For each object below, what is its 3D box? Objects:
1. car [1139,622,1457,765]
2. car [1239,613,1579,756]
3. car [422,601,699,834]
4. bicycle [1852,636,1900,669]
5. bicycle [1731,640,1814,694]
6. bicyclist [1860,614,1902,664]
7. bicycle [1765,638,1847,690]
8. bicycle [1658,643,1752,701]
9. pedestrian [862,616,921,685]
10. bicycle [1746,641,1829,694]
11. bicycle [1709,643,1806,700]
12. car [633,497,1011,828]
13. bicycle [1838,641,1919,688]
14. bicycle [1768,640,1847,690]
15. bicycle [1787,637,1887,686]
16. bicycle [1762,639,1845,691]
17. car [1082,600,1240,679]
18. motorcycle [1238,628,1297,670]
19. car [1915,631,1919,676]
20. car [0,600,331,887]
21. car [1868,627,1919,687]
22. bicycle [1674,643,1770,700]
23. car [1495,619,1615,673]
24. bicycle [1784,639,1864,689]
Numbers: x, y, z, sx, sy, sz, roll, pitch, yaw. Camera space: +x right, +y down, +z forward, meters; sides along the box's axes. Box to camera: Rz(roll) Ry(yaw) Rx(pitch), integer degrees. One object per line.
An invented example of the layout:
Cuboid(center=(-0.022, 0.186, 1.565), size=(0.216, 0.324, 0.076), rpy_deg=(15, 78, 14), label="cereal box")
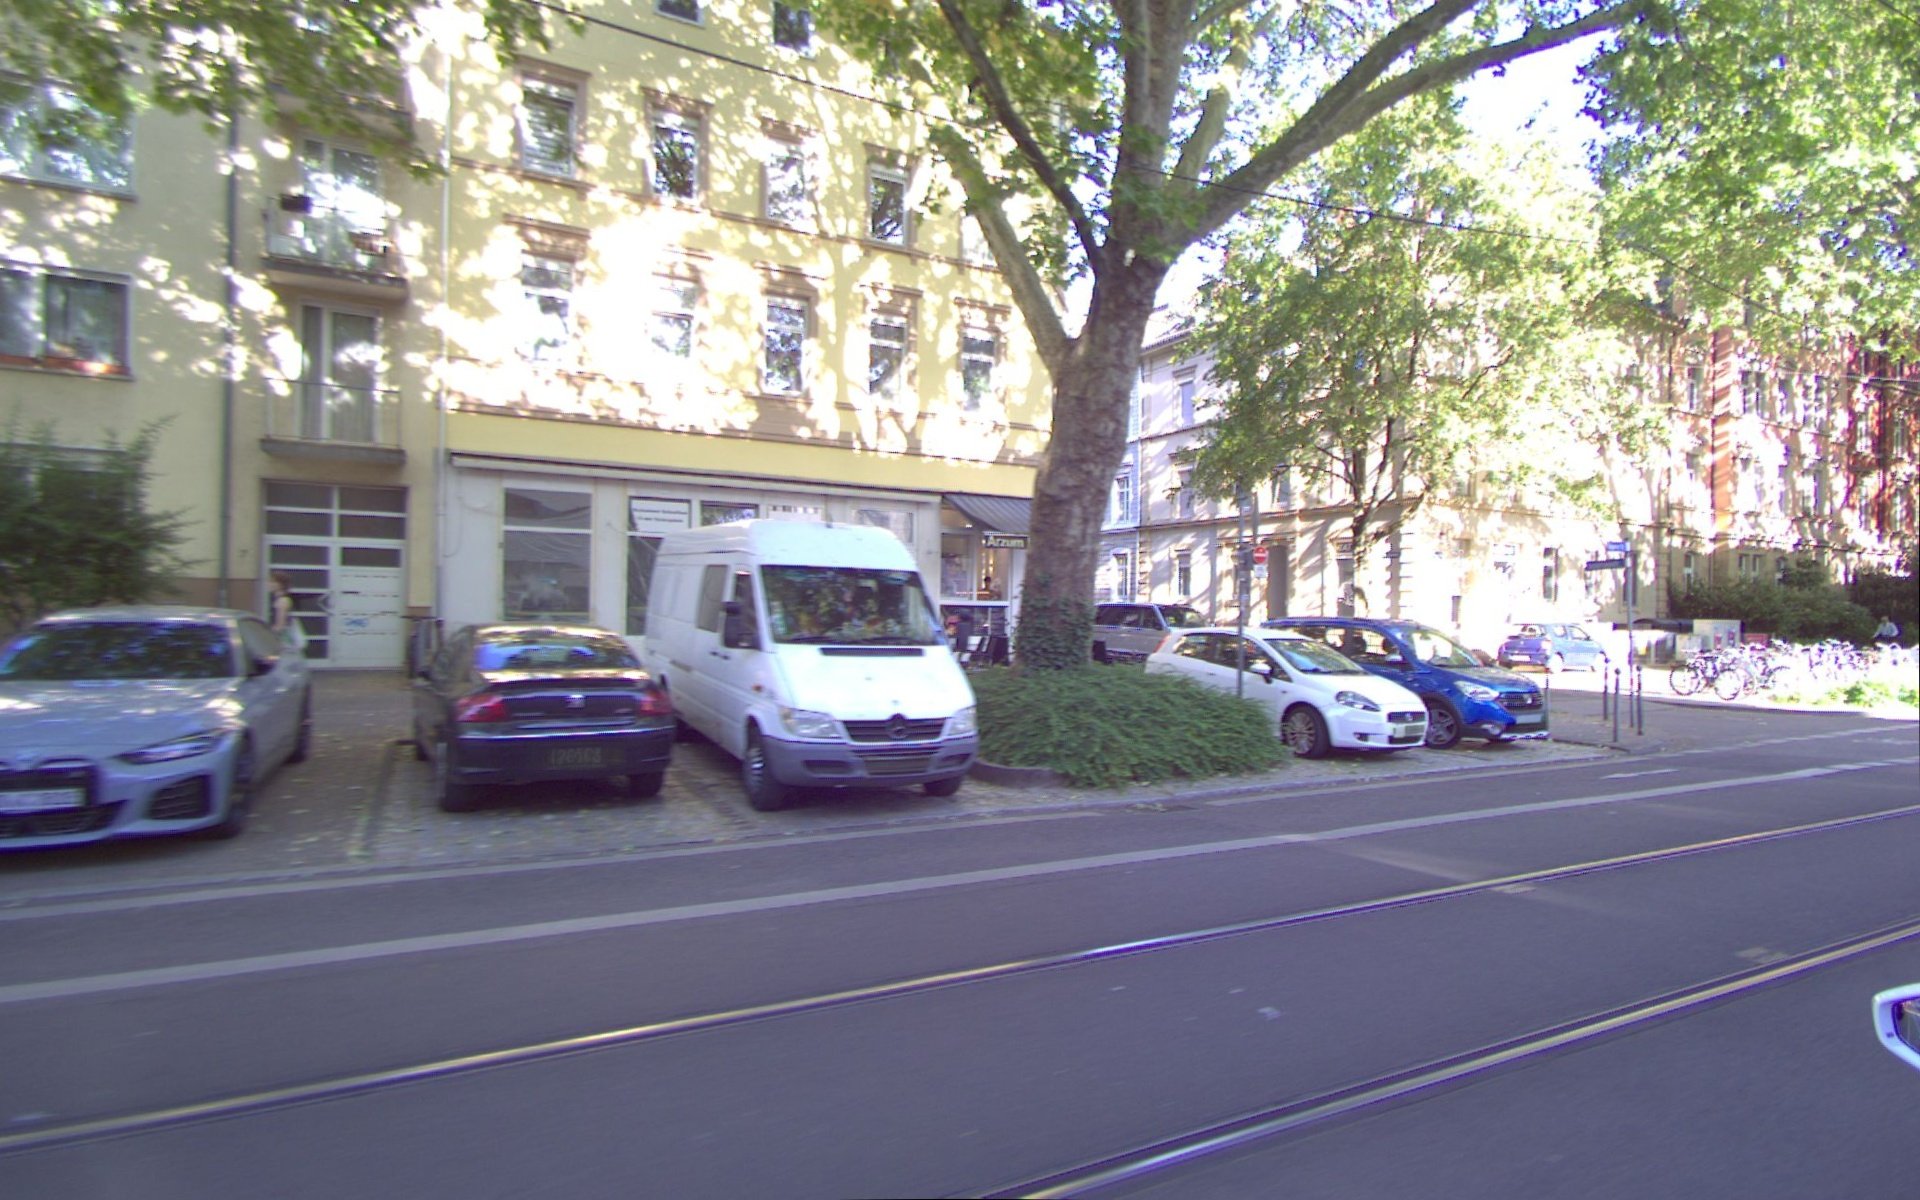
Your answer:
Cuboid(center=(4.261, 1.086, 13.205), size=(1.728, 1.538, 3.750), rpy_deg=(1, -1, -31), label="car")
Cuboid(center=(6.329, 1.084, 14.674), size=(1.796, 1.734, 4.298), rpy_deg=(1, -1, -31), label="car")
Cuboid(center=(-3.900, 0.857, 9.340), size=(1.881, 1.517, 4.126), rpy_deg=(2, 1, -29), label="car")
Cuboid(center=(33.289, 1.913, 36.509), size=(1.758, 1.154, 0.739), rpy_deg=(1, 0, -28), label="bicycle")
Cuboid(center=(18.078, 1.476, 22.386), size=(0.389, 1.102, 1.560), rpy_deg=(1, -1, -9), label="bicycle")
Cuboid(center=(33.569, 1.420, 36.603), size=(1.035, 1.786, 0.827), rpy_deg=(1, 0, -28), label="bicyclist")
Cuboid(center=(19.362, 1.450, 23.018), size=(0.389, 1.102, 1.560), rpy_deg=(1, -1, -9), label="bicycle")
Cuboid(center=(15.828, 1.508, 21.388), size=(0.389, 1.102, 1.859), rpy_deg=(1, -1, -9), label="bicycle")
Cuboid(center=(-1.296, 0.941, 19.013), size=(0.918, 1.257, 0.705), rpy_deg=(1, -1, -26), label="pedestrian")
Cuboid(center=(18.517, 1.491, 22.511), size=(0.389, 1.102, 1.560), rpy_deg=(1, -1, -9), label="bicycle")
Cuboid(center=(17.105, 1.510, 21.596), size=(0.389, 1.102, 1.859), rpy_deg=(1, -1, -9), label="bicycle")
Cuboid(center=(-1.954, 0.380, 10.795), size=(1.974, 2.440, 6.577), rpy_deg=(1, 1, -27), label="car")
Cuboid(center=(22.709, 1.559, 24.727), size=(0.585, 1.057, 1.807), rpy_deg=(1, -1, 0), label="bicycle")
Cuboid(center=(19.983, 1.514, 23.719), size=(0.389, 1.102, 1.560), rpy_deg=(1, -1, -9), label="bicycle")
Cuboid(center=(21.471, 1.492, 24.647), size=(0.586, 1.102, 1.922), rpy_deg=(1, -1, -9), label="bicycle")
Cuboid(center=(18.949, 1.442, 22.597), size=(0.389, 1.102, 1.560), rpy_deg=(1, -1, -9), label="bicycle")
Cuboid(center=(5.410, 1.037, 27.690), size=(2.098, 1.905, 4.564), rpy_deg=(4, -2, -21), label="car")
Cuboid(center=(9.807, 1.554, 31.978), size=(1.849, 1.278, 0.586), rpy_deg=(1, -1, -23), label="motorcycle")
Cuboid(center=(30.864, 1.634, 29.378), size=(1.584, 1.387, 3.975), rpy_deg=(1, -1, -25), label="car")
Cuboid(center=(-6.422, 0.817, 7.873), size=(1.974, 1.465, 4.914), rpy_deg=(1, 1, -26), label="car")
Cuboid(center=(25.402, 1.464, 24.865), size=(1.856, 1.479, 3.971), rpy_deg=(3, -2, -28), label="car")
Cuboid(center=(16.245, 1.504, 21.469), size=(0.389, 1.102, 1.859), rpy_deg=(1, -1, -9), label="bicycle")
Cuboid(center=(17.449, 1.317, 29.432), size=(3.449, 1.479, 1.591), rpy_deg=(1, -1, -31), label="car")
Cuboid(center=(20.459, 1.501, 23.823), size=(0.389, 1.102, 1.560), rpy_deg=(1, -1, -9), label="bicycle")
